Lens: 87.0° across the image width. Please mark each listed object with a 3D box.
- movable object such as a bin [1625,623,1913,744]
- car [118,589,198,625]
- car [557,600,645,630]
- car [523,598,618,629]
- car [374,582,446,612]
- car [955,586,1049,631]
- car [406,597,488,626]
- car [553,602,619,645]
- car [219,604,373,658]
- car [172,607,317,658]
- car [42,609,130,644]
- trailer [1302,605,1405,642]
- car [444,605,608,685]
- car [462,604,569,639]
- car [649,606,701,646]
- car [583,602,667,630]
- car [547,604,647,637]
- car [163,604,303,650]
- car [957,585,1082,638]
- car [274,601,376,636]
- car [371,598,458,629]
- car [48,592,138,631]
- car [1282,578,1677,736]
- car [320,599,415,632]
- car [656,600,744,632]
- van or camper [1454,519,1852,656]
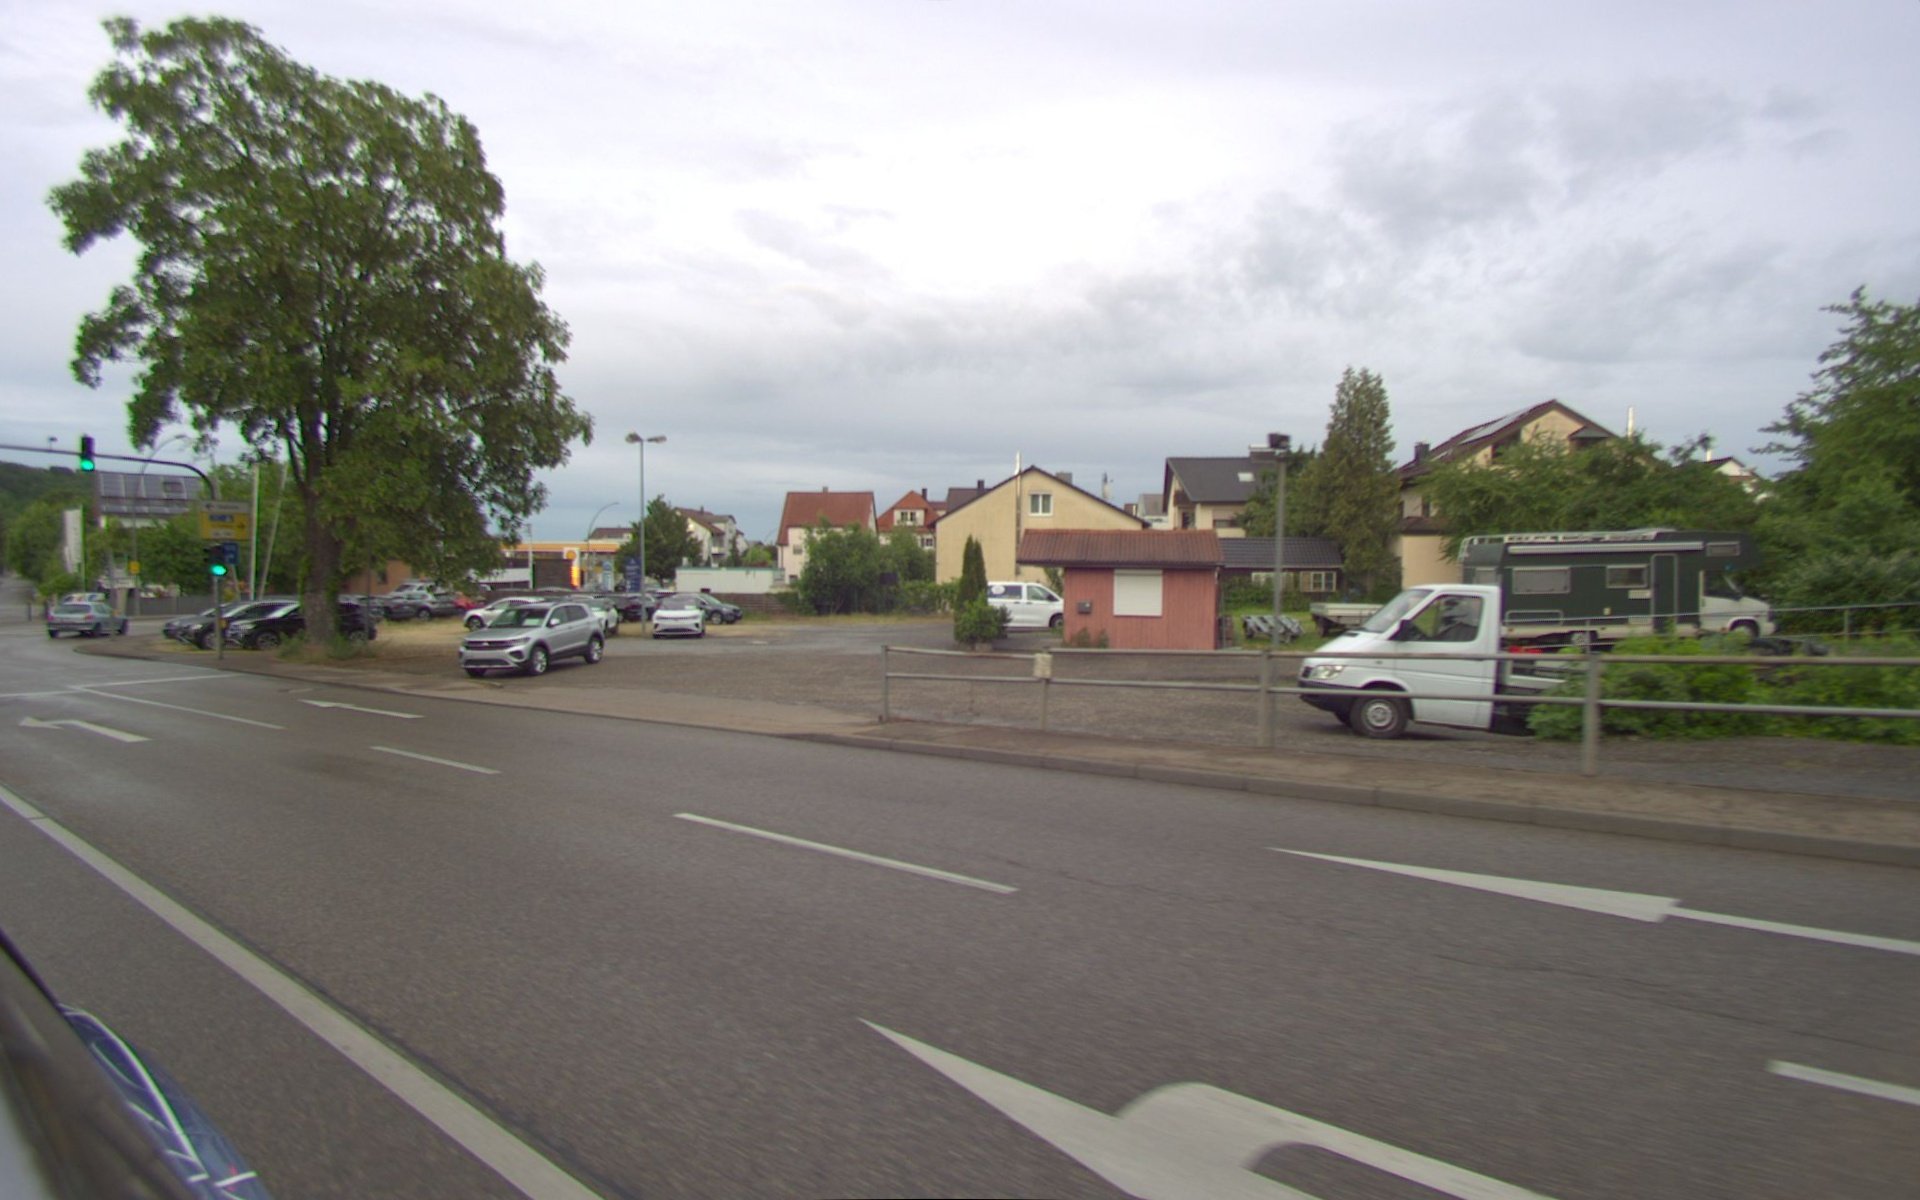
[{"bbox_3d":[15.080,1.514,19.028,3.947,2.029,1.662,2,0,3],"label":"movable object such as a bin"},{"bbox_3d":[-52.750,0.448,66.596,4.173,2.120,1.767,2,1,8],"label":"car"},{"bbox_3d":[-18.695,0.772,52.780,3.995,1.463,1.787,0,0,7],"label":"car"},{"bbox_3d":[-19.214,0.645,49.985,3.995,1.463,1.787,0,0,7],"label":"car"},{"bbox_3d":[-40.639,-0.167,74.986,2.029,2.102,5.243,-1,-1,7],"label":"car"},{"bbox_3d":[1.923,0.388,46.370,4.217,2.002,1.723,-1,0,3],"label":"car"},{"bbox_3d":[-28.405,0.633,56.110,3.720,1.562,1.594,-1,0,-2],"label":"car"},{"bbox_3d":[-14.536,0.877,39.537,1.761,1.521,4.053,-1,0,-10],"label":"car"},{"bbox_3d":[-21.234,0.945,32.463,1.671,1.579,3.843,-1,0,41],"label":"car"},{"bbox_3d":[-23.823,1.034,33.776,1.673,1.579,3.715,-1,0,44],"label":"car"},{"bbox_3d":[-36.580,1.093,42.477,1.622,1.391,3.714,0,-1,-21],"label":"car"},{"bbox_3d":[11.924,0.681,31.013,2.078,1.036,4.855,-1,0,11],"label":"trailer"},{"bbox_3d":[-10.183,0.990,24.101,1.701,1.582,3.998,-2,1,9],"label":"car"},{"bbox_3d":[-19.461,0.933,44.390,3.995,1.463,1.787,0,0,7],"label":"car"},{"bbox_3d":[-11.164,0.981,39.787,1.799,1.426,4.020,-1,0,-13],"label":"car"},{"bbox_3d":[-18.185,0.876,55.030,3.995,1.463,1.787,0,0,7],"label":"car"},{"bbox_3d":[-16.826,0.958,46.956,3.995,1.463,1.787,0,0,7],"label":"car"},{"bbox_3d":[-26.670,0.941,37.243,4.092,1.521,1.676,-1,1,-36],"label":"car"},{"bbox_3d":[2.331,0.446,40.041,4.809,2.002,1.959,-1,0,4],"label":"car"},{"bbox_3d":[-29.409,0.837,46.931,3.720,1.562,1.594,-1,0,-2],"label":"car"},{"bbox_3d":[-28.584,0.683,53.099,3.720,1.562,1.594,-1,0,-2],"label":"car"},{"bbox_3d":[-52.673,0.660,61.523,4.334,2.120,1.766,2,1,9],"label":"car"},{"bbox_3d":[6.656,0.716,13.518,4.238,1.885,2.056,-1,0,12],"label":"car"},{"bbox_3d":[-29.143,0.744,49.862,3.720,1.562,1.594,-1,0,-2],"label":"car"},{"bbox_3d":[-13.291,0.805,51.729,4.001,1.566,1.784,0,0,11],"label":"car"},{"bbox_3d":[17.063,-0.353,25.367,8.013,2.916,2.475,-3,4,4],"label":"van or camper"}]
